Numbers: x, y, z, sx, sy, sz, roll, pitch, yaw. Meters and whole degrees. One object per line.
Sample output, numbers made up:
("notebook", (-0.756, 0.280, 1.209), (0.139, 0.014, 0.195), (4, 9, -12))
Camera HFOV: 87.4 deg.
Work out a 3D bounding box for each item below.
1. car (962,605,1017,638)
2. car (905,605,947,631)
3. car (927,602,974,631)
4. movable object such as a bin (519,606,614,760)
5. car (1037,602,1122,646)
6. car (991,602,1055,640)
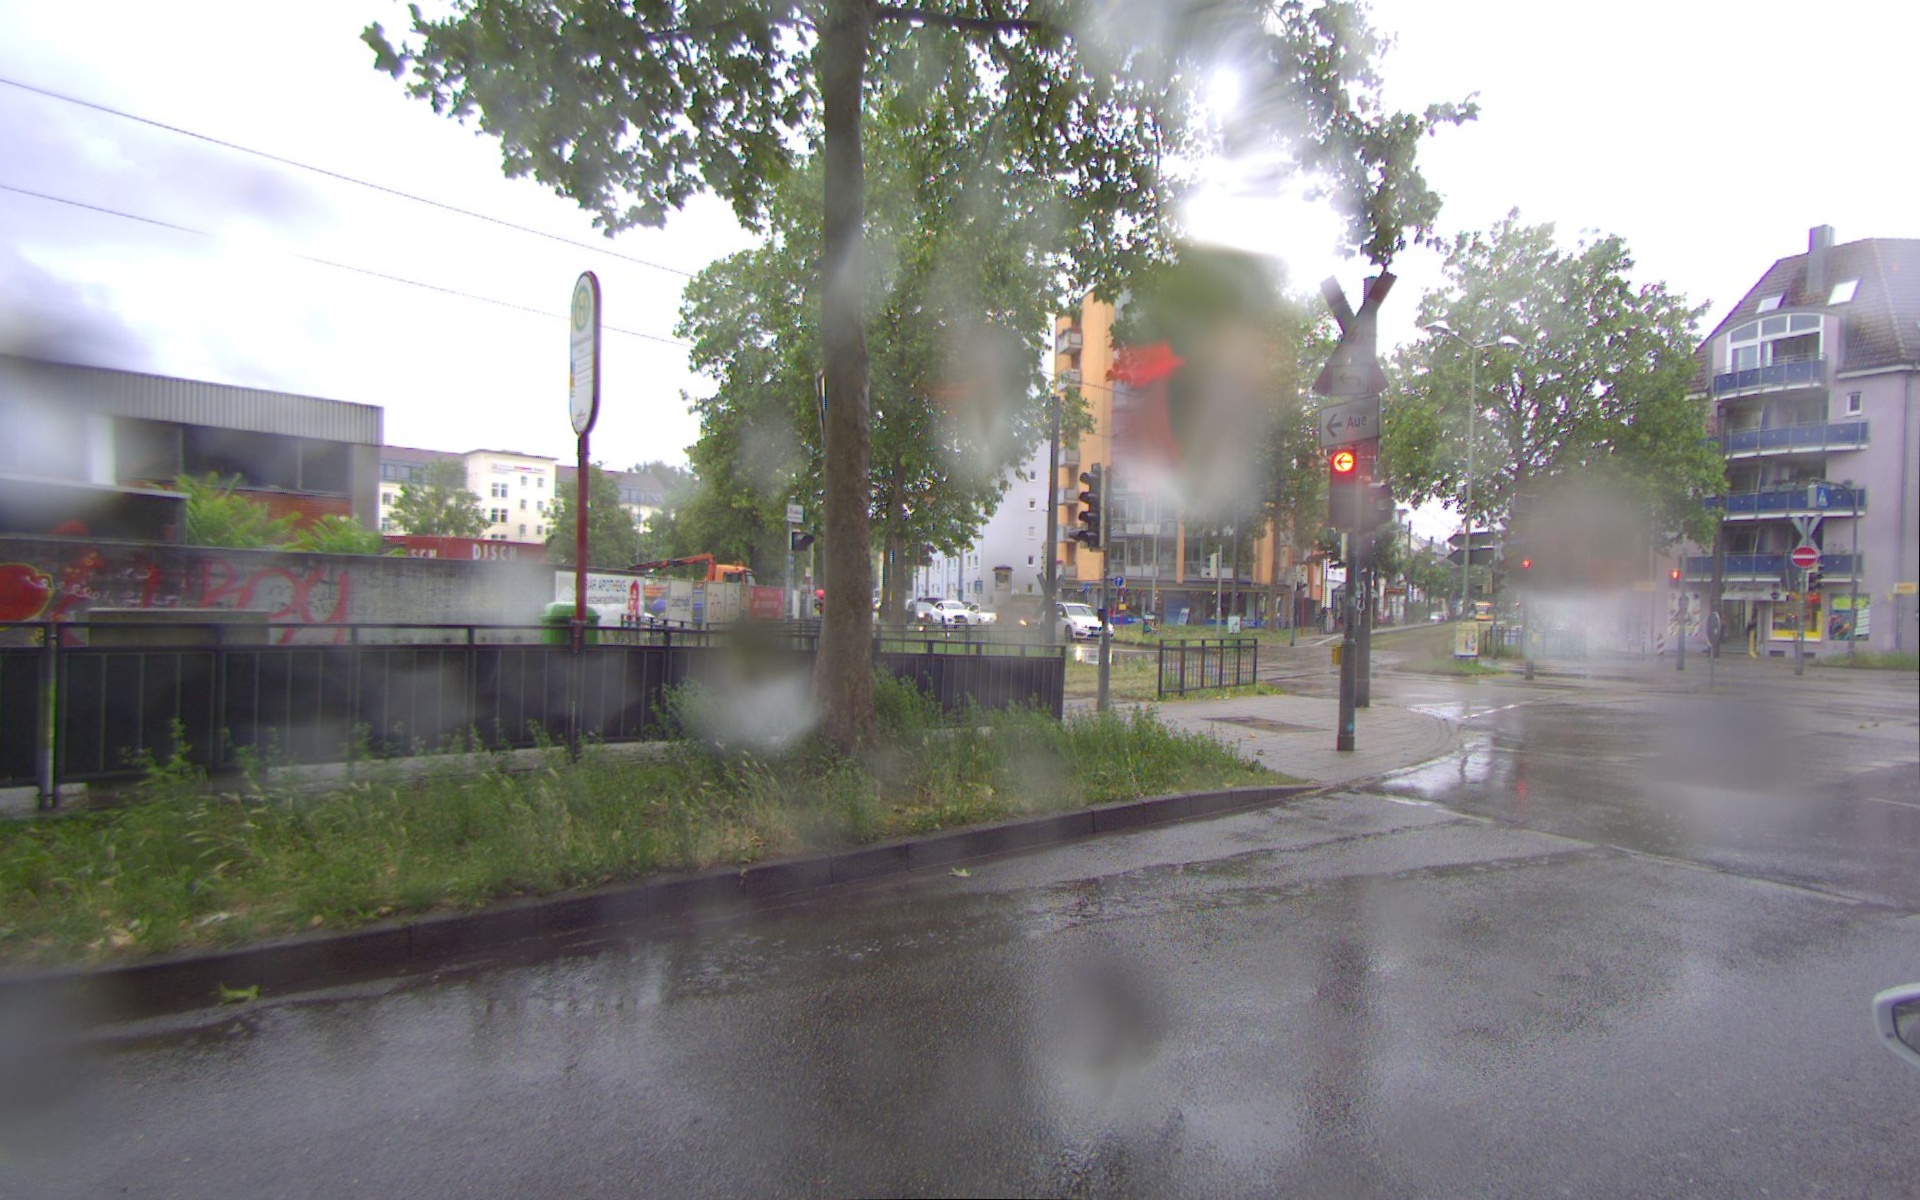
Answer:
("car", (1.499, 1.135, 52.384), (1.697, 1.661, 3.780), (1, -1, -17))
("car", (-2.212, 1.159, 64.501), (1.697, 1.661, 3.780), (1, -1, -17))
("car", (-0.589, 0.966, 58.352), (1.697, 1.661, 3.780), (1, -1, -17))
("movable object such as a bin", (-2.951, 0.600, 7.541), (0.412, 1.104, 0.528), (0, -1, 44))
("car", (4.735, 0.973, 40.339), (1.941, 1.673, 4.004), (1, -1, -17))
("car", (2.847, 0.982, 46.216), (1.697, 1.661, 3.780), (1, -1, -17))
